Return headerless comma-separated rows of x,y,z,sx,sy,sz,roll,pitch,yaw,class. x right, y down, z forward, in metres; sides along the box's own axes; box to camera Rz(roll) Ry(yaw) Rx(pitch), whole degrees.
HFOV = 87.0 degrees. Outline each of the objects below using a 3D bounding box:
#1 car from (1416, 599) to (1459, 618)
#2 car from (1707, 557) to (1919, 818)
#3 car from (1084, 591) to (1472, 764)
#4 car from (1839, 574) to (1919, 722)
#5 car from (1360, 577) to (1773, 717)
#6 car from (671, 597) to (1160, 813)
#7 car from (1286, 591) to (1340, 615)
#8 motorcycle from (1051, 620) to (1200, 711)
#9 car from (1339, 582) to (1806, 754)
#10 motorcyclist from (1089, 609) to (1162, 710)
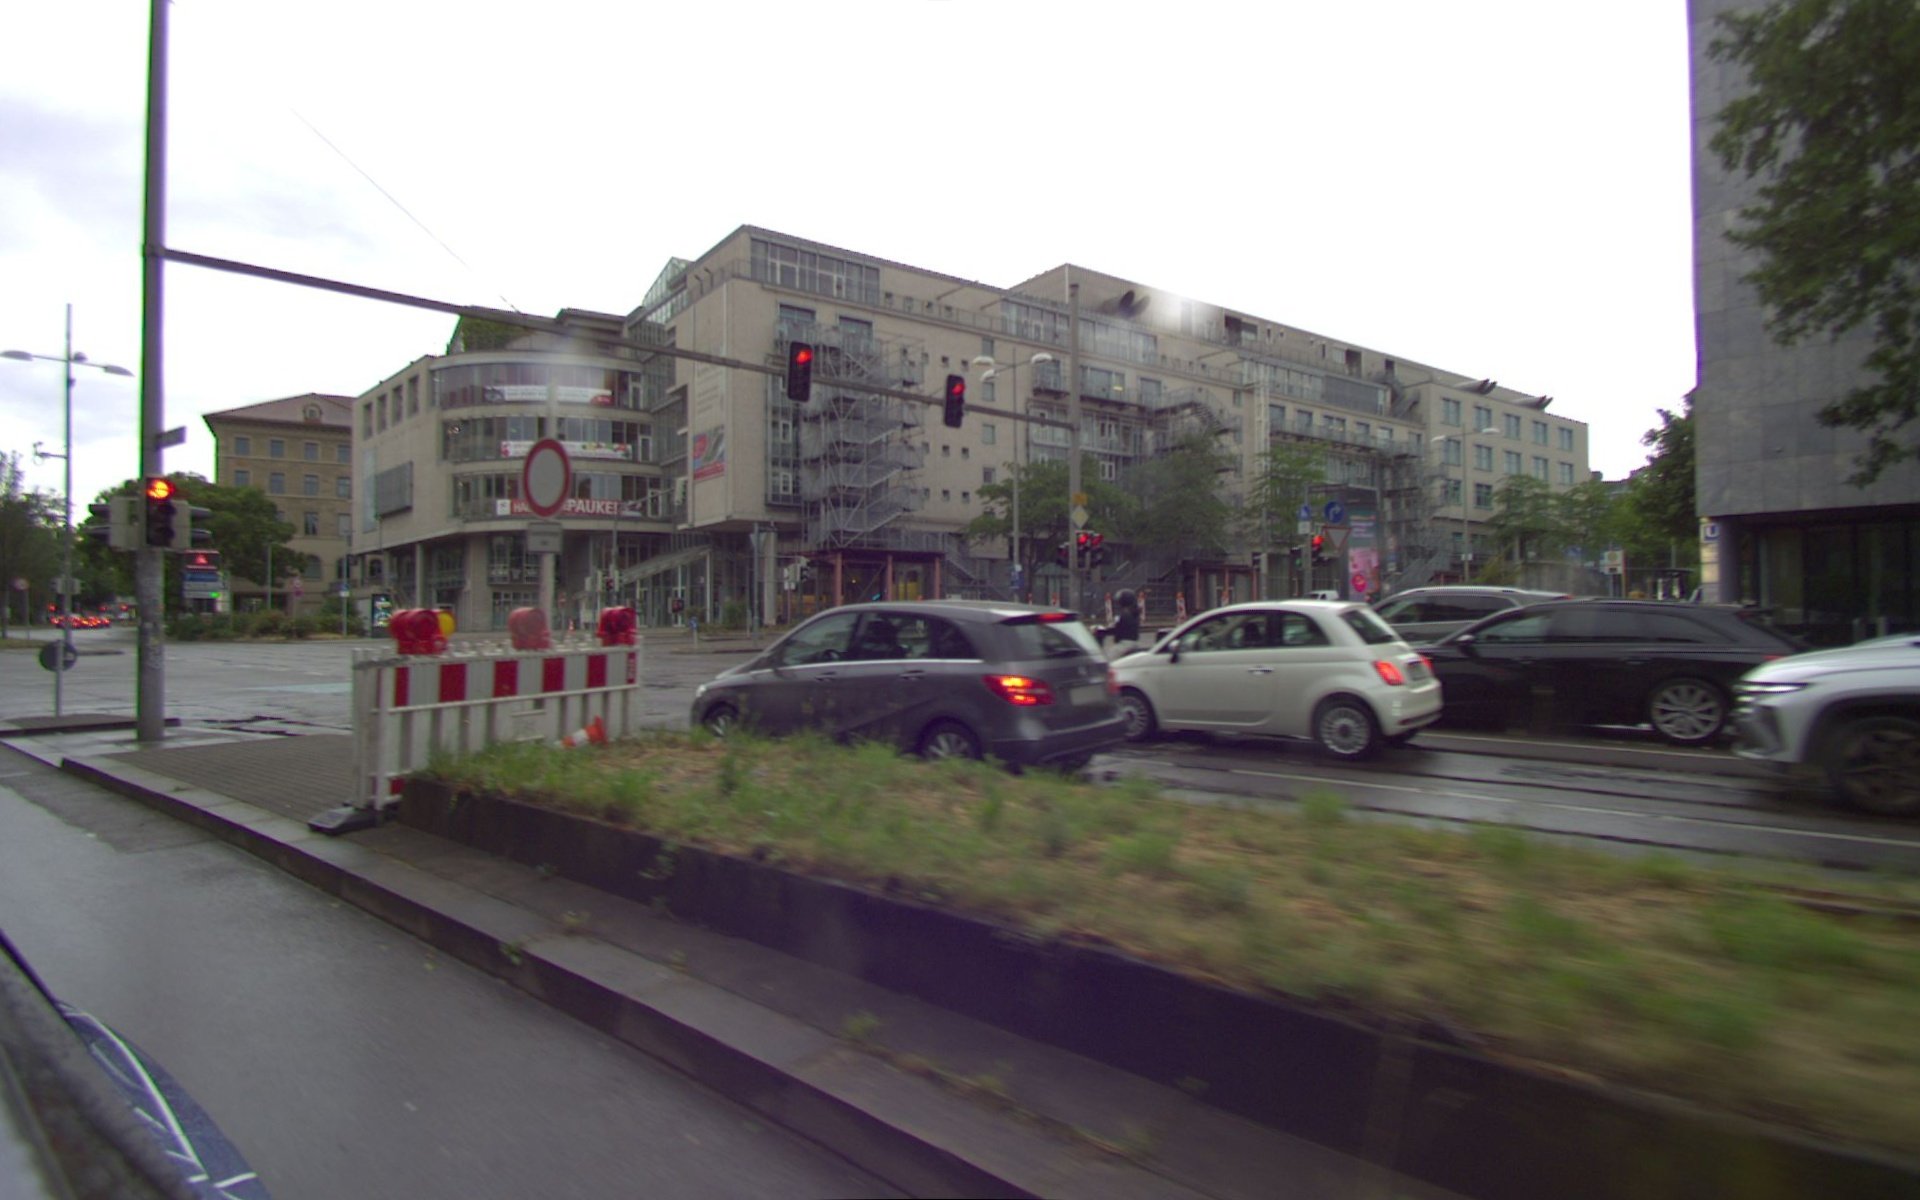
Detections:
42.301,0.727,89.675,4.268,1.522,1.762,-1,-1,-39,car
7.825,0.533,6.404,4.797,1.698,1.857,-2,-2,42,car
3.228,0.739,10.537,3.427,1.487,1.700,-3,-1,39,car
12.377,0.485,10.722,4.586,1.616,1.972,-2,-1,42,car
8.206,0.586,13.992,4.659,1.630,1.739,-2,-1,41,car
-0.536,0.787,9.018,4.158,1.493,1.826,-2,-2,38,car
27.728,0.223,79.469,4.268,1.807,2.004,-1,-1,-39,car
2.387,0.924,14.754,2.040,1.237,0.711,-1,-1,37,motorcycle
6.702,0.657,11.352,4.219,1.577,1.818,-1,-1,40,car
2.414,0.845,14.737,0.732,1.402,0.779,-2,-1,37,motorcyclist
